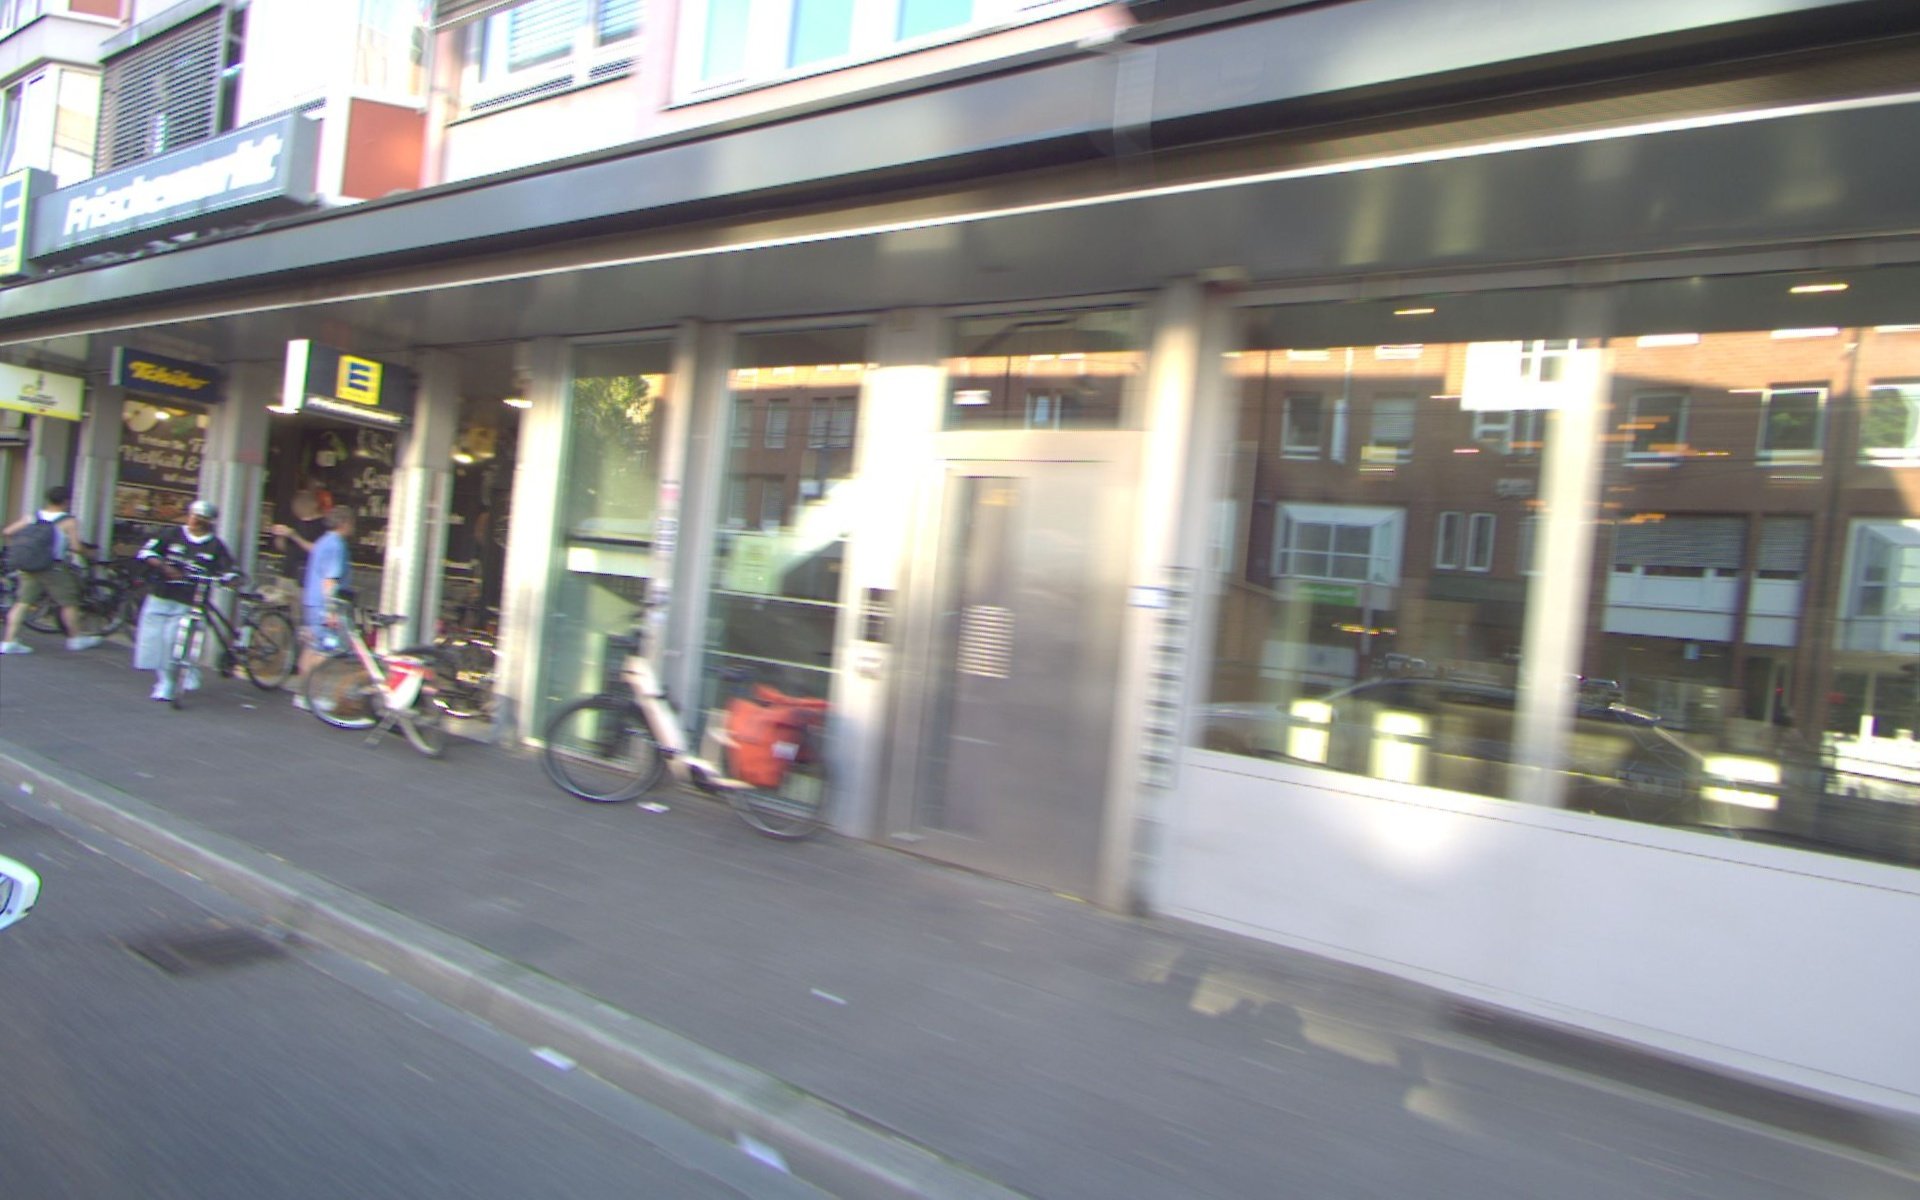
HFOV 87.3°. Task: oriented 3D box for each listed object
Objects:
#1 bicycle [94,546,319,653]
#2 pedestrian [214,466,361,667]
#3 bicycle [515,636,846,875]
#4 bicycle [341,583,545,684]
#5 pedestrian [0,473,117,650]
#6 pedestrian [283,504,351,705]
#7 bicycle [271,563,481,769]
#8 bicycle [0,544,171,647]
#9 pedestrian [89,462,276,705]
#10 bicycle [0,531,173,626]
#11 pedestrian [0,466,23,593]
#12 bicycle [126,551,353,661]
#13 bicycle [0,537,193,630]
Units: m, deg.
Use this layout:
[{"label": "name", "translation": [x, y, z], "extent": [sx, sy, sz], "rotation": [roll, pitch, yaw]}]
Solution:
[{"label": "bicycle", "translation": [-8.445, 0.038, 11.375], "extent": [0.566, 1.073, 1.927], "rotation": [6, 0, 28]}, {"label": "pedestrian", "translation": [-6.639, -0.312, 9.977], "extent": [0.793, 1.838, 0.732], "rotation": [6, 0, -6]}, {"label": "bicycle", "translation": [-1.612, 0.797, 5.699], "extent": [1.811, 0.990, 0.676], "rotation": [5, 4, 28]}, {"label": "bicycle", "translation": [-5.521, 0.374, 10.875], "extent": [0.566, 0.950, 1.927], "rotation": [6, 0, 28]}, {"label": "pedestrian", "translation": [-9.251, -0.378, 10.168], "extent": [0.902, 1.685, 0.777], "rotation": [5, 1, 29]}, {"label": "pedestrian", "translation": [-5.327, 0.038, 8.348], "extent": [0.403, 1.617, 0.457], "rotation": [3, 3, -31]}, {"label": "bicycle", "translation": [-4.082, 0.400, 6.984], "extent": [1.611, 1.191, 0.796], "rotation": [6, 3, 43]}, {"label": "bicycle", "translation": [-9.501, -0.047, 10.371], "extent": [0.648, 0.986, 2.021], "rotation": [7, 2, 34]}, {"label": "pedestrian", "translation": [-6.403, -0.119, 8.334], "extent": [0.793, 1.838, 0.732], "rotation": [6, 0, -6]}, {"label": "bicycle", "translation": [-11.228, -0.259, 12.692], "extent": [0.567, 1.073, 1.926], "rotation": [6, 0, 31]}, {"label": "pedestrian", "translation": [-14.677, -1.079, 14.937], "extent": [0.674, 1.891, 0.779], "rotation": [5, 1, 11]}, {"label": "bicycle", "translation": [-7.865, 0.097, 11.087], "extent": [0.566, 1.073, 1.927], "rotation": [6, 0, 28]}, {"label": "bicycle", "translation": [-10.179, -0.174, 11.845], "extent": [0.498, 0.986, 1.729], "rotation": [6, 2, 36]}]
